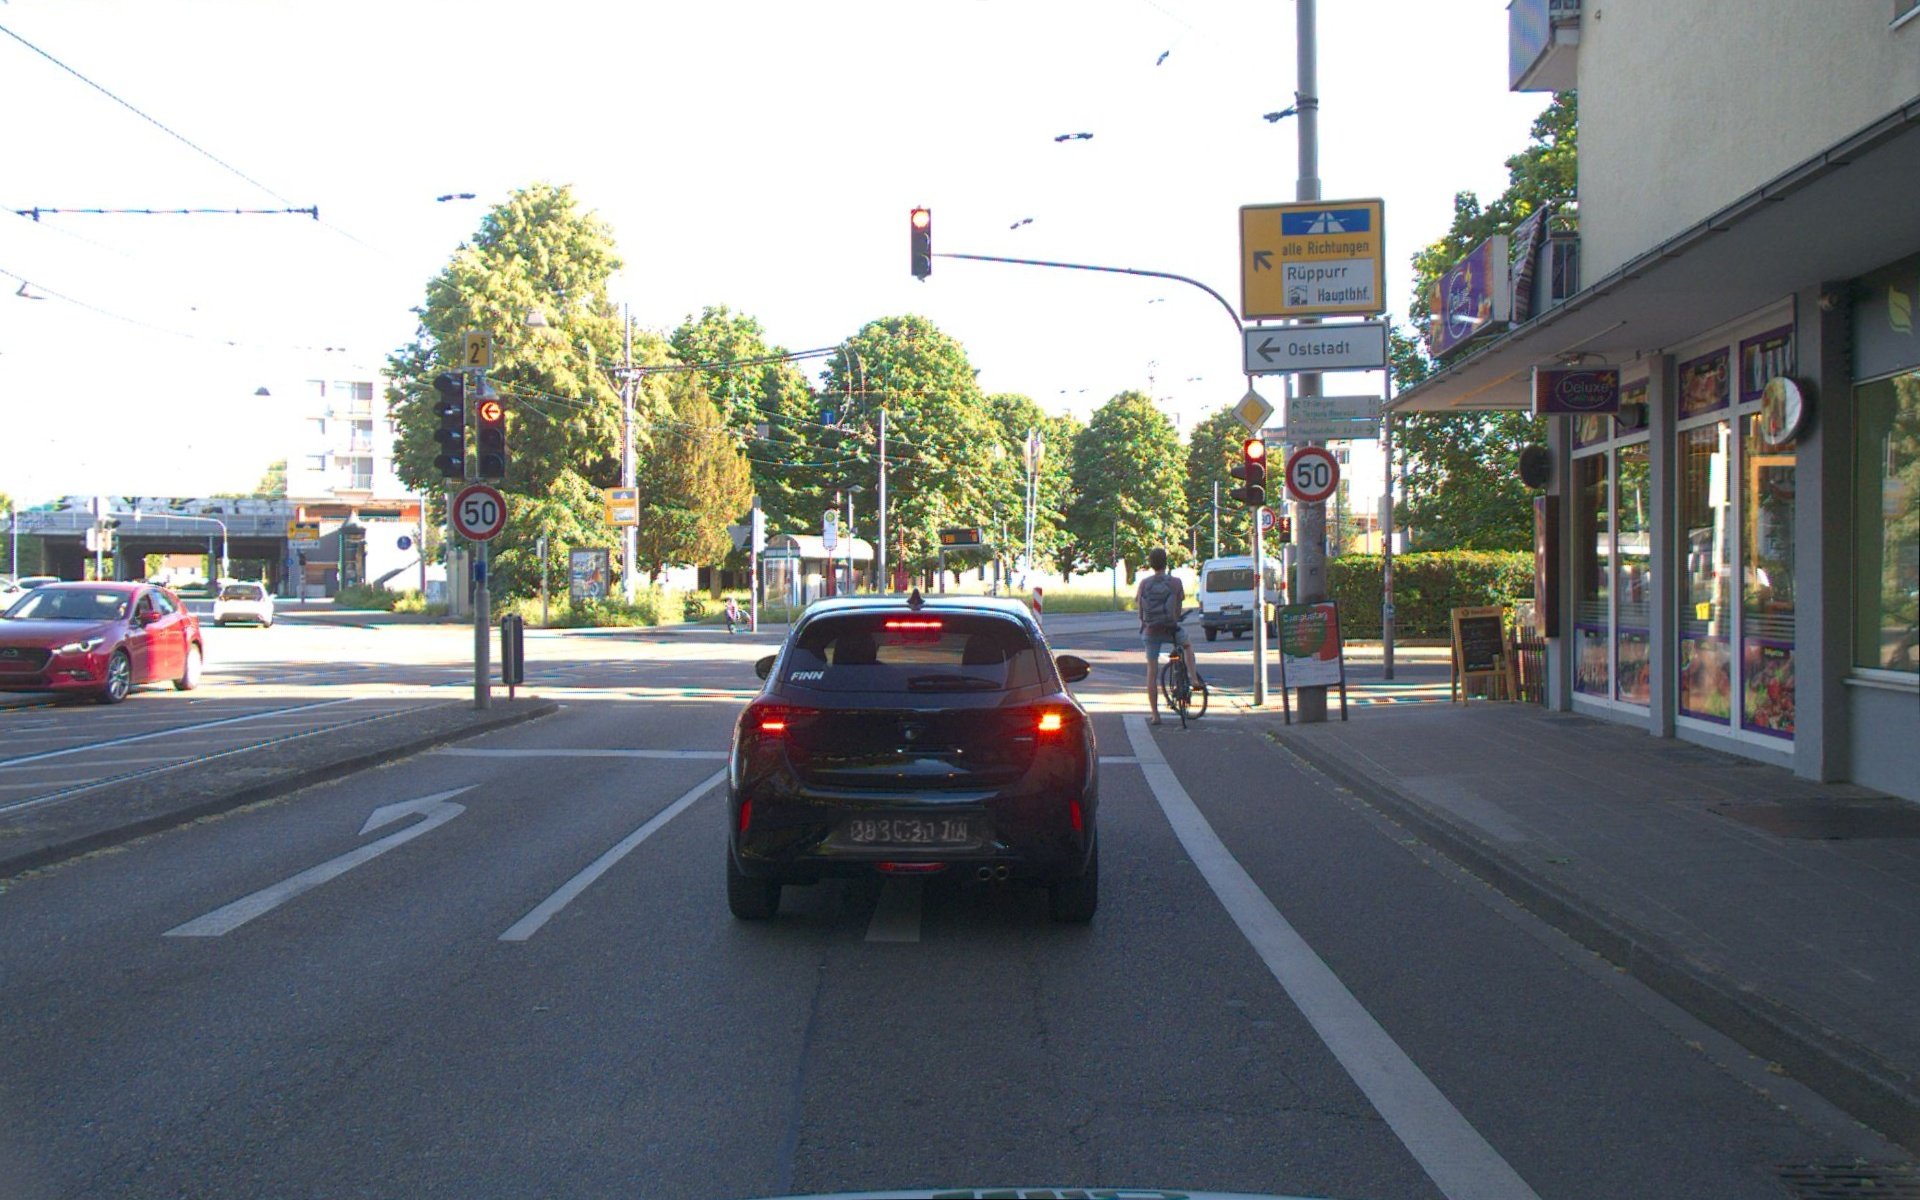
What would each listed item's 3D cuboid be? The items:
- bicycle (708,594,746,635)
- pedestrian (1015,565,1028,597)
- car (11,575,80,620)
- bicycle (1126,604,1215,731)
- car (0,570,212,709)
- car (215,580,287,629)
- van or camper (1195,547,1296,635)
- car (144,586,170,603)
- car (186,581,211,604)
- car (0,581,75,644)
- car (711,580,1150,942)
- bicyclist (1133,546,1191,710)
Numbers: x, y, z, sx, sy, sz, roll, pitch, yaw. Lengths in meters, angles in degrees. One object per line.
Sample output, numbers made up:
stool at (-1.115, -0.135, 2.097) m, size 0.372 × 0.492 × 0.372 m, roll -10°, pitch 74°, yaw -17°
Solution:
bicycle at (-6.468, 0.386, 45.952) m, size 0.780 × 1.083 × 2.184 m, roll 0°, pitch 1°, yaw -1°
pedestrian at (3.795, -1.172, 101.649) m, size 0.599 × 1.904 × 0.513 m, roll 1°, pitch -1°, yaw -36°
car at (-34.118, -0.103, 61.768) m, size 1.860 × 1.613 × 3.809 m, roll 1°, pitch 0°, yaw -24°
bicycle at (2.297, 0.687, 17.863) m, size 0.737 × 1.256 × 2.017 m, roll 0°, pitch 1°, yaw 14°
car at (-11.121, 0.426, 21.107) m, size 1.981 × 1.592 × 4.477 m, roll 0°, pitch 1°, yaw -13°
car at (-24.085, 0.135, 56.090) m, size 1.967 × 1.579 × 4.160 m, roll 1°, pitch 0°, yaw -27°
van or camper at (8.062, -0.228, 46.415) m, size 1.987 × 2.351 × 4.540 m, roll 1°, pitch 0°, yaw 20°
car at (-62.056, -0.425, 127.818) m, size 1.562 × 1.282 × 3.394 m, roll -1°, pitch 1°, yaw -30°
car at (-59.254, -0.581, 128.777) m, size 1.732 × 1.713 × 3.712 m, roll 1°, pitch 0°, yaw -25°
car at (-24.423, 0.296, 40.831) m, size 1.768 × 1.545 × 4.189 m, roll 1°, pitch 0°, yaw 37°
car at (-0.148, 0.644, 8.802) m, size 1.803 × 1.487 × 3.983 m, roll 0°, pitch 1°, yaw -1°
bicyclist at (2.177, 0.291, 17.773) m, size 0.522 × 1.722 × 0.568 m, roll 0°, pitch 0°, yaw 16°
